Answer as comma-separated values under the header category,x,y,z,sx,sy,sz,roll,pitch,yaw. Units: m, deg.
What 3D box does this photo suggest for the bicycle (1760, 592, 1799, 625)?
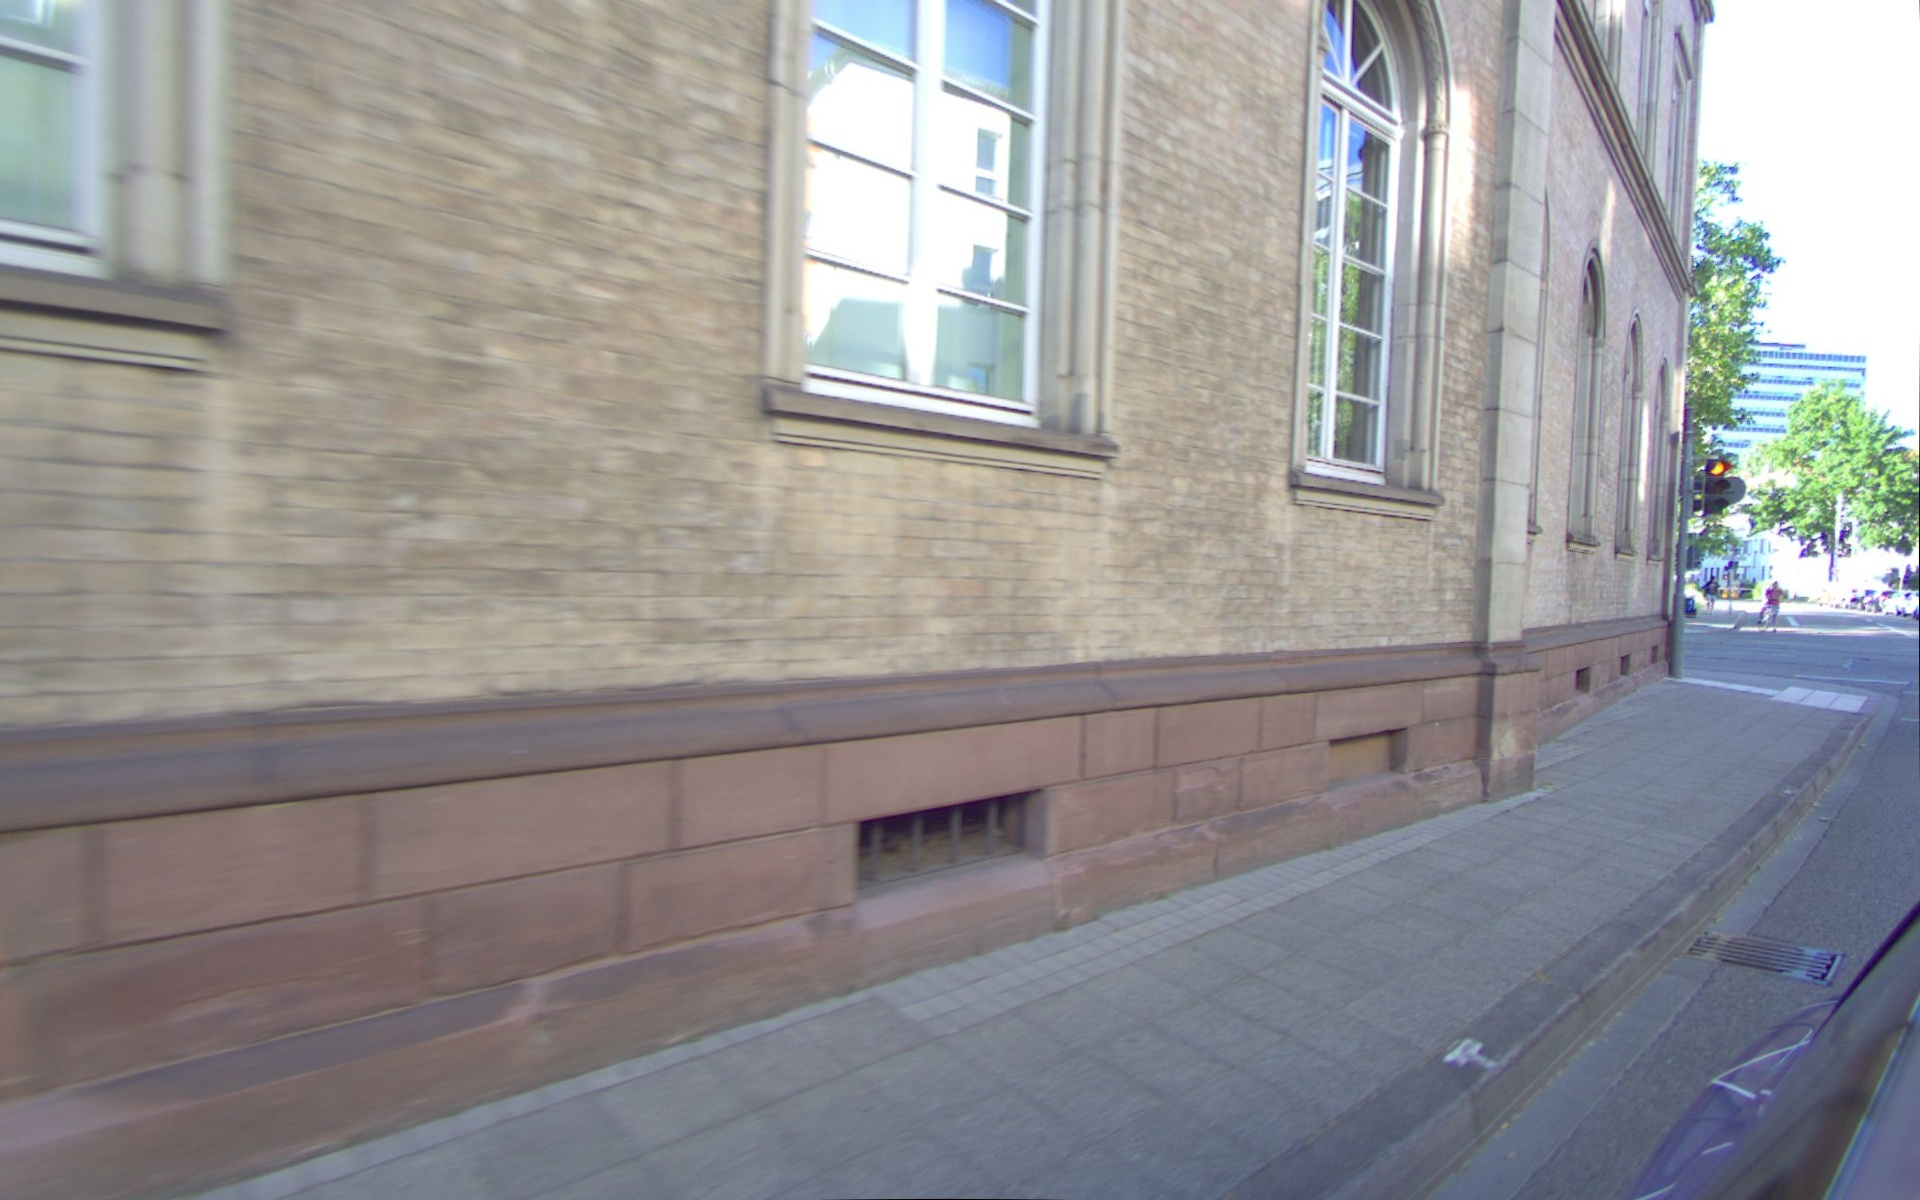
category,x,y,z,sx,sy,sz,roll,pitch,yaw
bicycle,28.391,0.275,35.088,0.938,1.051,2.965,3,2,38

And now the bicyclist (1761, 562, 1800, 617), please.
category,x,y,z,sx,sy,sz,roll,pitch,yaw
bicyclist,28.317,-0.364,34.932,0.973,1.830,1.116,2,2,39

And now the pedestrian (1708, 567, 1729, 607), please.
category,x,y,z,sx,sy,sz,roll,pitch,yaw
pedestrian,36.918,-0.631,49.269,0.662,1.878,1.015,2,2,30

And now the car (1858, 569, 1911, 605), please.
category,x,y,z,sx,sy,sz,roll,pitch,yaw
car,56.105,-0.797,61.493,1.990,2.038,3.945,3,2,38

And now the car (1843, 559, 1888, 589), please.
category,x,y,z,sx,sy,sz,roll,pitch,yaw
car,63.264,-1.816,70.787,1.990,2.038,3.945,3,2,38

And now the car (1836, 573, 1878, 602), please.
category,x,y,z,sx,sy,sz,roll,pitch,yaw
car,65.862,-0.902,74.358,1.990,2.039,3.945,3,1,38

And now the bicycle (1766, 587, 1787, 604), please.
category,x,y,z,sx,sy,sz,roll,pitch,yaw
bicycle,48.909,-0.273,60.653,0.757,0.961,3.019,2,2,35

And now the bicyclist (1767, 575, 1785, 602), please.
category,x,y,z,sx,sy,sz,roll,pitch,yaw
bicyclist,48.937,-0.681,60.690,0.757,1.612,0.890,2,2,36

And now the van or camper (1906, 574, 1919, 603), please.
category,x,y,z,sx,sy,sz,roll,pitch,yaw
van or camper,73.818,-0.799,75.198,4.692,2.112,1.980,2,2,30

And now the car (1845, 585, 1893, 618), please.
category,x,y,z,sx,sy,sz,roll,pitch,yaw
car,59.440,0.037,66.255,1.990,2.038,3.945,3,2,38

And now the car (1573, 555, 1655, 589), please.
category,x,y,z,sx,sy,sz,roll,pitch,yaw
car,44.027,-1.879,68.163,4.538,2.139,1.975,3,2,35

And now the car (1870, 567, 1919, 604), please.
category,x,y,z,sx,sy,sz,roll,pitch,yaw
car,53.443,-0.828,57.694,1.990,2.038,3.945,3,2,38

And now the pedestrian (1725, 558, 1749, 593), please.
category,x,y,z,sx,sy,sz,roll,pitch,yaw
pedestrian,76.964,-2.443,100.199,1.442,3.349,1.396,2,1,22
